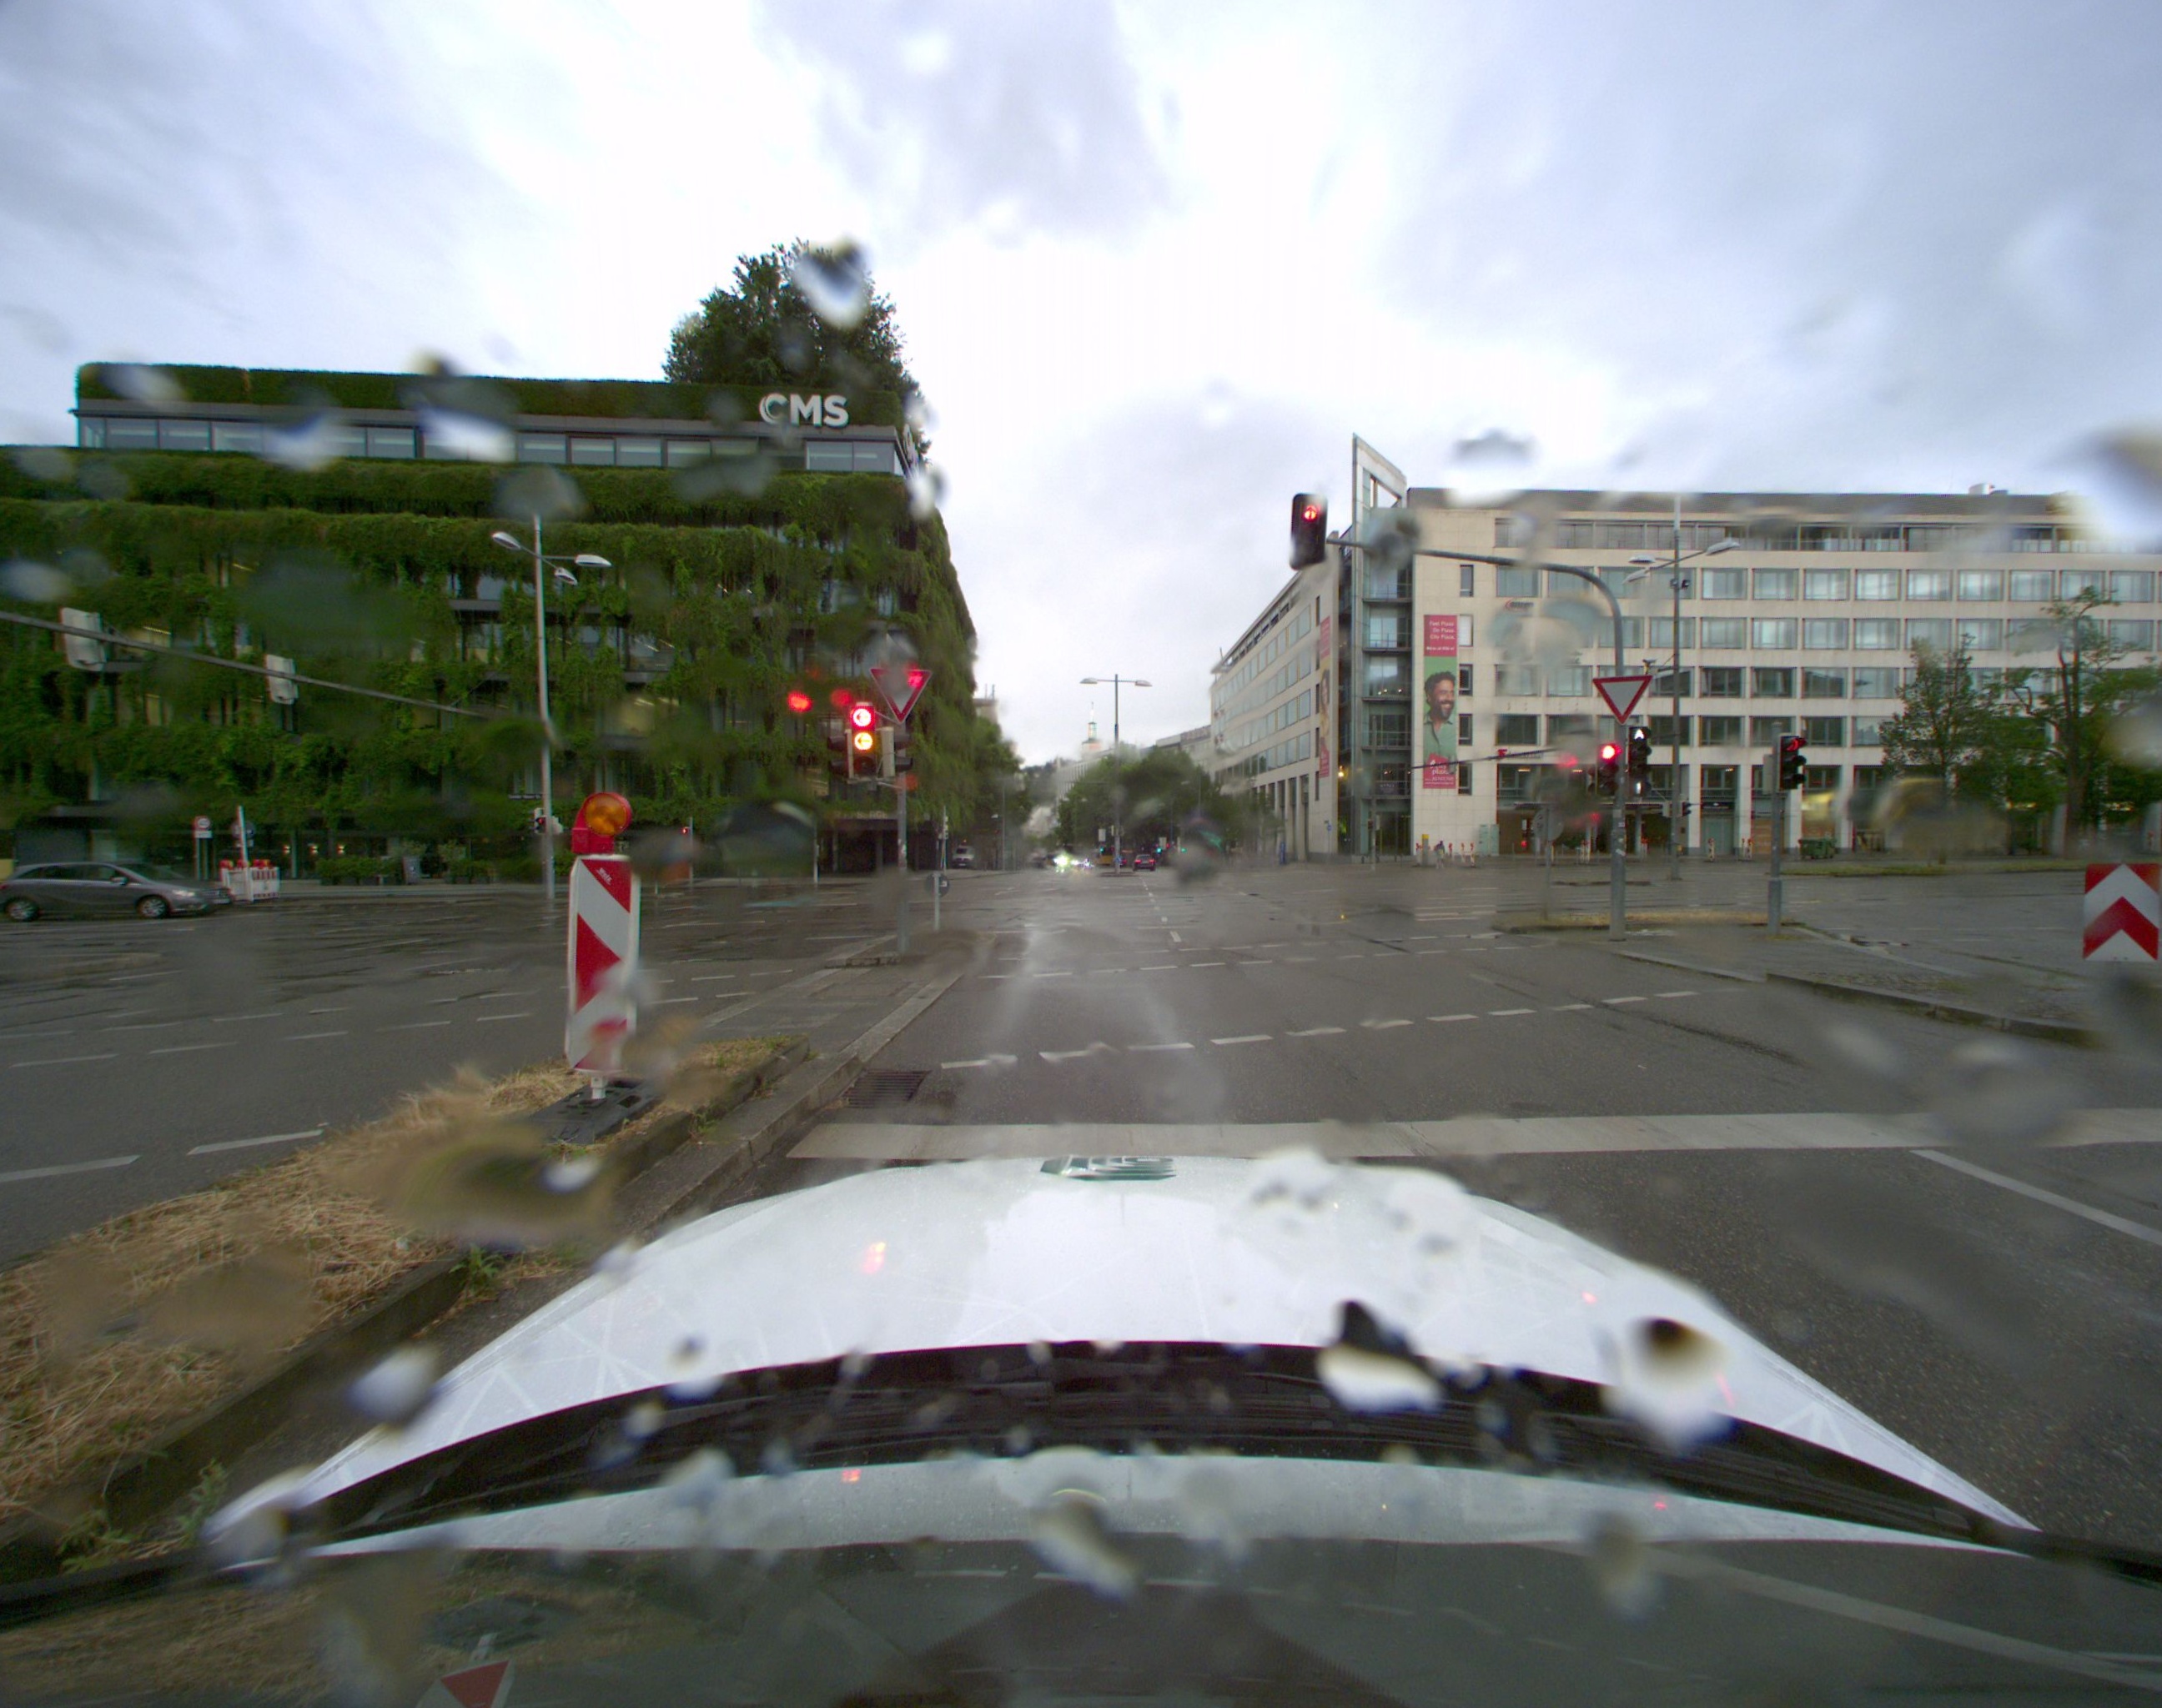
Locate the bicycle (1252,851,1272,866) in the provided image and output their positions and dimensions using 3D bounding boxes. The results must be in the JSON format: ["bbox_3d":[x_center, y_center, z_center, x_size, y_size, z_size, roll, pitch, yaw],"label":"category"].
[{"bbox_3d":[14.726,0.388,66.216,0.588,1.194,1.768,0,-1,-26],"label":"bicycle"}]

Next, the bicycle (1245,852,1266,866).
[{"bbox_3d":[15.285,0.427,71.416,1.770,1.194,0.587,0,-1,3],"label":"bicycle"}]

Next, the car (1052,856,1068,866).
[{"bbox_3d":[-3.715,1.256,144.169,2.164,1.765,5.095,0,-1,-9],"label":"car"}]

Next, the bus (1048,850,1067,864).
[{"bbox_3d":[-5.246,0.588,180.723,2.631,2.995,7.415,-1,0,-13],"label":"bus"}]

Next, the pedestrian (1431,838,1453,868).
[{"bbox_3d":[21.848,-0.075,49.349,0.958,1.816,0.837,0,-1,1],"label":"pedestrian"}]

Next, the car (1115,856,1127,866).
[{"bbox_3d":[5.911,1.010,120.323,1.775,1.508,4.001,0,-1,2],"label":"car"}]

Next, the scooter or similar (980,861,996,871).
[{"bbox_3d":[-9.431,1.186,82.953,0.616,1.004,1.671,-1,0,40],"label":"scooter or similar"}]

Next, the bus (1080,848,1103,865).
[{"bbox_3d":[1.982,0.438,153.287,2.631,2.995,7.415,-1,0,-13],"label":"bus"}]

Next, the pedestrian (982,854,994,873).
[{"bbox_3d":[-8.142,0.837,71.261,0.930,1.644,0.774,0,-1,1],"label":"pedestrian"}]

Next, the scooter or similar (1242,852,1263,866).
[{"bbox_3d":[14.905,0.424,70.802,1.770,1.194,0.587,0,-1,3],"label":"scooter or similar"}]

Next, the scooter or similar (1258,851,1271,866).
[{"bbox_3d":[14.418,0.372,63.986,0.951,1.194,0.458,-1,-1,42],"label":"scooter or similar"}]

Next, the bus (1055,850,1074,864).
[{"bbox_3d":[-3.549,0.641,173.580,2.631,2.995,7.294,-1,0,-13],"label":"bus"}]

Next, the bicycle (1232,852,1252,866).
[{"bbox_3d":[14.469,0.447,73.240,1.770,1.194,0.587,0,-1,3],"label":"bicycle"}]

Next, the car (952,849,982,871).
[{"bbox_3d":[-9.562,0.507,68.741,1.863,1.839,4.001,0,-1,2],"label":"car"}]

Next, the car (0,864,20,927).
[{"bbox_3d":[-27.342,1.005,18.313,3.981,1.475,1.996,-1,0,-6],"label":"car"}]

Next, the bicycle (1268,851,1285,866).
[{"bbox_3d":[16.049,0.383,66.742,0.579,1.194,1.794,-1,-1,40],"label":"bicycle"}]

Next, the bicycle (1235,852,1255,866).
[{"bbox_3d":[14.936,0.451,74.147,1.770,1.194,0.587,0,-1,3],"label":"bicycle"}]

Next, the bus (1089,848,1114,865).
[{"bbox_3d":[3.675,0.422,146.095,2.631,2.995,7.415,-1,0,-13],"label":"bus"}]

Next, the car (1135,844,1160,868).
[{"bbox_3d":[5.882,0.200,71.661,1.533,2.014,4.684,-1,-1,12],"label":"car"}]

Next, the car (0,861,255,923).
[{"bbox_3d":[-26.125,0.987,22.070,4.901,1.488,1.924,-1,0,-15],"label":"car"}]

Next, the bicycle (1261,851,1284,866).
[{"bbox_3d":[15.199,0.372,64.652,1.607,1.194,0.590,-1,-1,27],"label":"bicycle"}]

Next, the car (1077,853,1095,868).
[{"bbox_3d":[0.592,0.791,98.956,2.158,1.765,5.109,0,-1,-1],"label":"car"}]

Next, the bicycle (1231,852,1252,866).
[{"bbox_3d":[14.294,0.444,72.610,1.770,1.194,0.587,0,-1,3],"label":"bicycle"}]
